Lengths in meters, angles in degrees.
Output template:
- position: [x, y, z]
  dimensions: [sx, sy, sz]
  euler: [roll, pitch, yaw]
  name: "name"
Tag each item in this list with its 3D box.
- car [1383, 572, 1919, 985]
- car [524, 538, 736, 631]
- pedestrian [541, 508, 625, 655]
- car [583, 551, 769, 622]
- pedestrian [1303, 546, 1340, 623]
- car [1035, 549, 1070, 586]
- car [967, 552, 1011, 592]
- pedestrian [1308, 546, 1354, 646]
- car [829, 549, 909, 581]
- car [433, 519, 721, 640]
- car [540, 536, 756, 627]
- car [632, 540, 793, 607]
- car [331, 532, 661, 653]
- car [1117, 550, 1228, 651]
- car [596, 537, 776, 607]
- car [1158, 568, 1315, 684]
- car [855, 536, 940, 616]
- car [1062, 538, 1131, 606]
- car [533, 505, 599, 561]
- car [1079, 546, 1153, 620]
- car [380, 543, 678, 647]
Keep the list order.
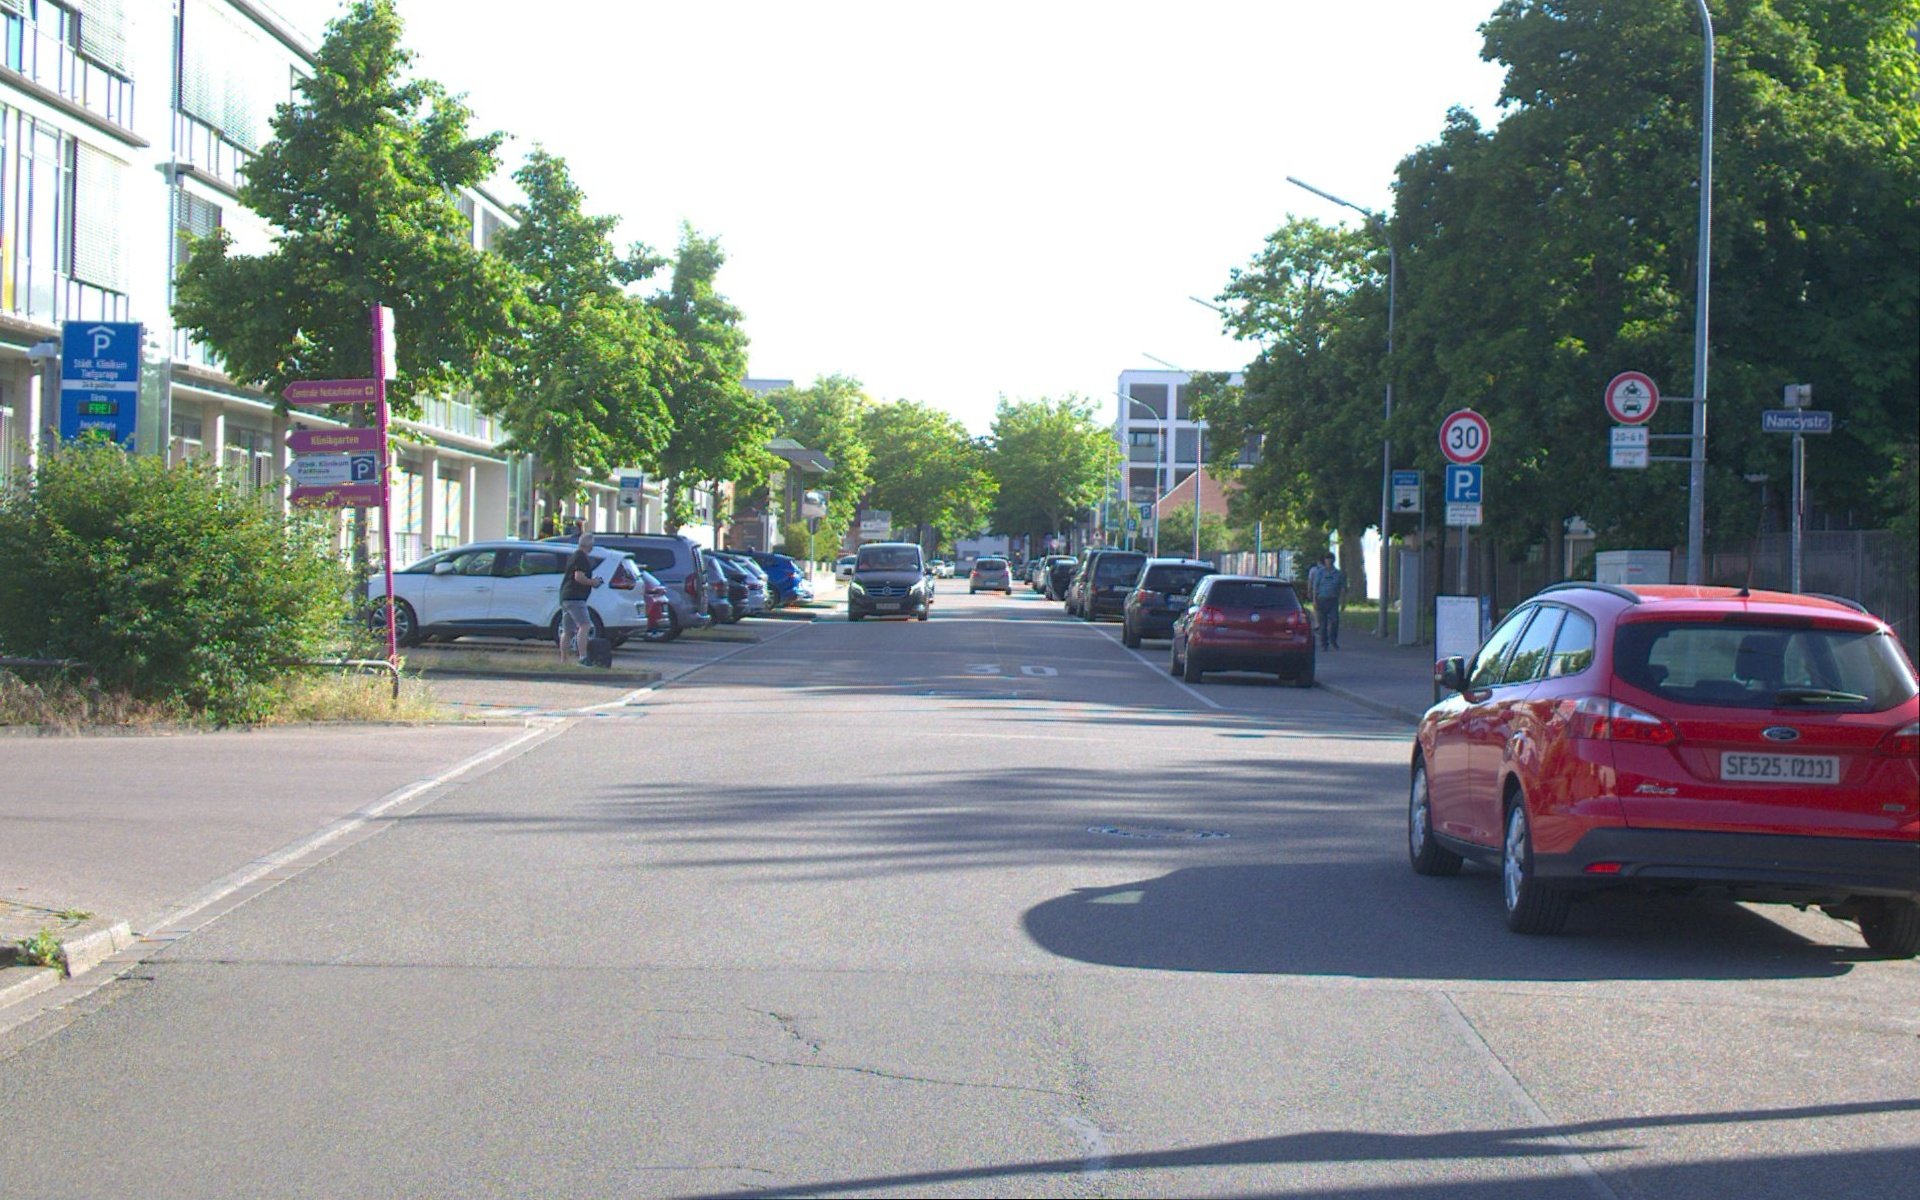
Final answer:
- position: [3.144, 0.678, 15.502]
  dimensions: [1.819, 1.494, 4.452]
  euler: [3, 1, 0]
  name: "car"
- position: [-6.420, -0.316, 67.197]
  dimensions: [3.986, 1.601, 1.872]
  euler: [3, 1, -3]
  name: "car"
- position: [-4.865, -0.239, 44.400]
  dimensions: [0.858, 1.836, 0.825]
  euler: [3, 1, 2]
  name: "pedestrian"
- position: [-6.232, -0.309, 75.851]
  dimensions: [3.986, 1.354, 1.743]
  euler: [3, 1, -3]
  name: "car"
- position: [7.889, -0.342, 75.026]
  dimensions: [0.698, 1.655, 0.752]
  euler: [-1, 1, 0]
  name: "pedestrian"
- position: [4.027, -1.420, 150.037]
  dimensions: [1.436, 1.555, 3.042]
  euler: [1, 1, 0]
  name: "car"
- position: [1.173, -1.159, 140.787]
  dimensions: [1.743, 1.538, 4.000]
  euler: [2, 1, 0]
  name: "car"
- position: [6.565, -0.076, 60.877]
  dimensions: [0.717, 1.752, 0.885]
  euler: [-1, 1, 1]
  name: "pedestrian"
- position: [-4.646, -1.785, 176.555]
  dimensions: [3.987, 1.514, 2.000]
  euler: [2, -1, 1]
  name: "car"
- position: [-6.673, -0.367, 60.205]
  dimensions: [4.742, 1.858, 1.827]
  euler: [3, 1, 1]
  name: "car"
- position: [-6.332, -0.387, 70.151]
  dimensions: [4.246, 1.606, 2.048]
  euler: [3, 1, -3]
  name: "car"
- position: [-6.668, -0.714, 92.945]
  dimensions: [4.213, 1.597, 1.872]
  euler: [3, 1, -3]
  name: "car"
- position: [-6.970, -0.118, 51.905]
  dimensions: [4.612, 1.645, 1.867]
  euler: [2, 0, 4]
  name: "car"
- position: [3.920, -0.025, 63.956]
  dimensions: [1.812, 1.660, 4.592]
  euler: [3, 2, 1]
  name: "car"
- position: [-6.594, -0.689, 82.966]
  dimensions: [4.213, 1.457, 1.872]
  euler: [3, 1, -3]
  name: "car"
- position: [3.799, 0.320, 47.918]
  dimensions: [1.720, 1.450, 4.652]
  euler: [3, 1, 0]
  name: "car"
- position: [-1.506, -0.600, 84.290]
  dimensions: [1.955, 1.861, 5.255]
  euler: [1, 1, 0]
  name: "car"
- position: [4.015, -0.842, 101.402]
  dimensions: [1.874, 1.971, 4.000]
  euler: [0, 1, 0]
  name: "car"
- position: [-15.101, -2.556, 131.828]
  dimensions: [1.993, 2.007, 4.000]
  euler: [2, -1, 0]
  name: "car"
- position: [4.008, -0.447, 88.915]
  dimensions: [1.733, 1.824, 3.905]
  euler: [1, 1, 1]
  name: "car"
- position: [-6.802, -0.085, 54.561]
  dimensions: [4.434, 1.496, 1.827]
  euler: [2, 0, 1]
  name: "car"
